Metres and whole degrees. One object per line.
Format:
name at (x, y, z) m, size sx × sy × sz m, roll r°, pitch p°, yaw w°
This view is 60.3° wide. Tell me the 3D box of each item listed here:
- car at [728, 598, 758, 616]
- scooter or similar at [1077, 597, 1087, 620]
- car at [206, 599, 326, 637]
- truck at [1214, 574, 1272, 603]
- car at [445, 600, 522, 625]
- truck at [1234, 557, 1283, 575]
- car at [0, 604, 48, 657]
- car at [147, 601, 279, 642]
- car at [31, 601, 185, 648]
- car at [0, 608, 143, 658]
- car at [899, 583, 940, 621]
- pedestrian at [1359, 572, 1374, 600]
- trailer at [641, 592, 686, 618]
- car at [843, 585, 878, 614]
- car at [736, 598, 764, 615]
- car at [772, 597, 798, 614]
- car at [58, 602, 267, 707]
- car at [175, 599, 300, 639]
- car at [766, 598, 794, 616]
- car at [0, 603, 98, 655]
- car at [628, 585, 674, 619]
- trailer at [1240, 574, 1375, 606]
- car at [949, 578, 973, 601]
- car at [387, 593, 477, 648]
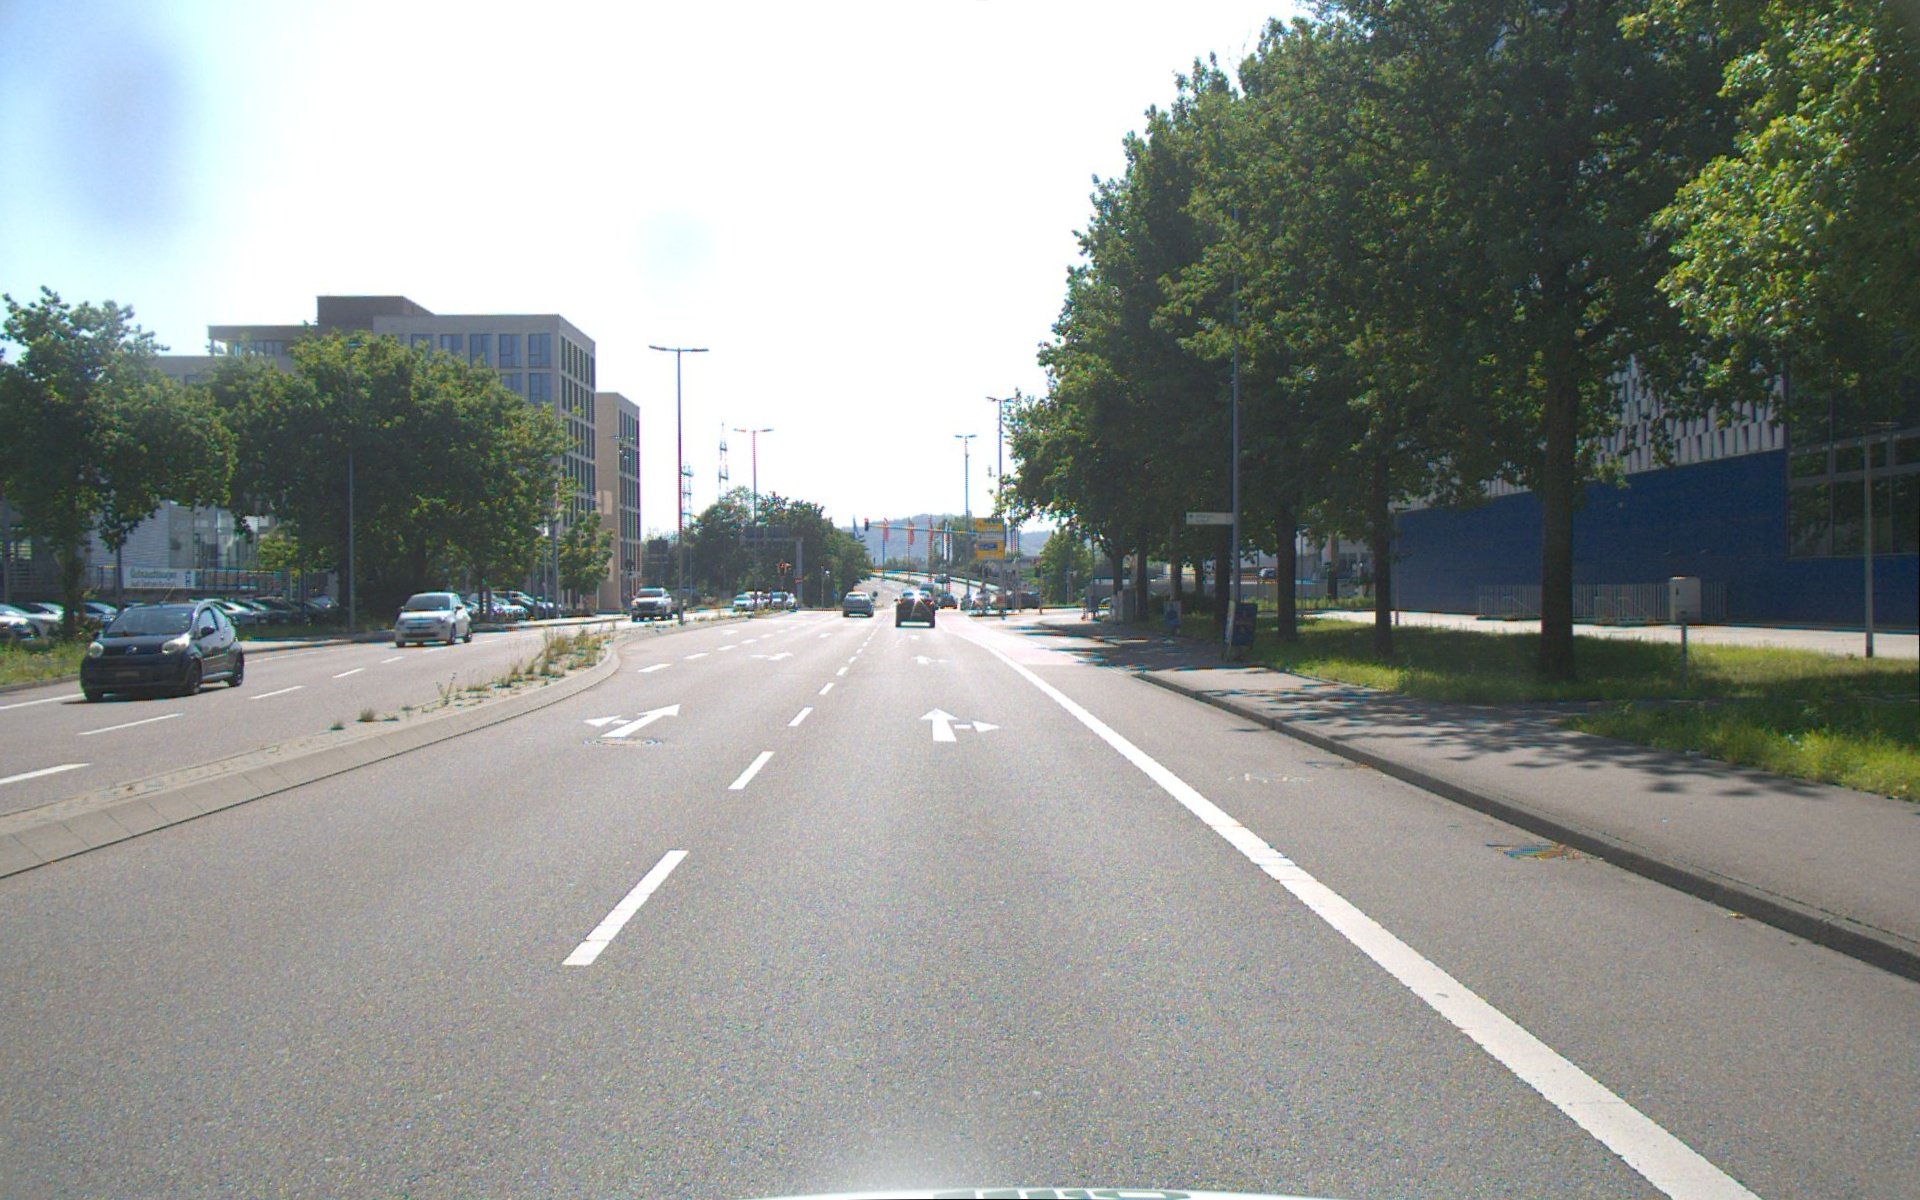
car at (-18.713, 0.577, 142.773) m, size 1.852 × 1.489 × 4.002 m, roll -1°, pitch 0°, yaw 3°
scooter or similar at (6.852, 0.483, 92.755) m, size 0.343 × 1.255 × 1.312 m, roll -1°, pitch 0°, yaw 12°
car at (-27.409, 0.709, 65.423) m, size 3.906 × 1.400 × 1.924 m, roll -1°, pitch 0°, yaw -1°
truck at (25.144, -1.044, 147.111) m, size 4.783 × 2.466 × 1.999 m, roll 1°, pitch 1°, yaw -3°
car at (-27.646, 0.743, 96.072) m, size 3.907 × 1.366 × 1.999 m, roll -1°, pitch 0°, yaw -2°
truck at (37.747, -4.283, 209.005) m, size 5.788 × 2.048 × 2.000 m, roll 2°, pitch 1°, yaw 1°
car at (-27.229, 0.842, 44.884) m, size 3.906 × 1.400 × 1.865 m, roll -1°, pitch 0°, yaw -1°
car at (-27.172, 0.766, 60.284) m, size 3.906 × 1.400 × 1.924 m, roll -1°, pitch 0°, yaw -1°
car at (-27.190, 0.776, 52.886) m, size 3.906 × 1.400 × 1.924 m, roll -1°, pitch 0°, yaw -1°
car at (-27.239, 0.987, 50.173) m, size 3.906 × 1.400 × 1.924 m, roll -1°, pitch 0°, yaw -1°
car at (-1.926, 0.072, 77.353) m, size 1.771 × 1.668 × 4.456 m, roll -1°, pitch 0°, yaw -3°
pedestrian at (26.693, -0.913, 108.563) m, size 0.616 × 1.801 × 0.803 m, roll -1°, pitch 0°, yaw -12°
trailer at (-17.743, 0.300, 99.099) m, size 1.954 × 1.478 × 5.768 m, roll -1°, pitch 0°, yaw -3°
car at (-6.137, -0.024, 102.479) m, size 1.953 × 1.713 × 3.999 m, roll -1°, pitch 0°, yaw -1°
car at (-19.086, 0.552, 150.257) m, size 1.777 × 1.489 × 4.002 m, roll -1°, pitch 0°, yaw 3°
car at (-15.952, 0.461, 150.999) m, size 1.777 × 1.489 × 4.002 m, roll -1°, pitch 0°, yaw 3°
car at (-12.571, 0.805, 26.348) m, size 1.749 × 1.439 × 3.994 m, roll -3°, pitch 0°, yaw -7°
car at (-27.501, 0.716, 63.024) m, size 3.906 × 1.400 × 1.924 m, roll -1°, pitch 0°, yaw -1°
car at (-15.629, 0.624, 144.033) m, size 1.777 × 1.489 × 4.002 m, roll -1°, pitch 0°, yaw 3°
car at (-27.307, 0.837, 47.571) m, size 3.960 × 1.400 × 2.025 m, roll -1°, pitch 0°, yaw -1°
car at (-17.484, 0.105, 93.748) m, size 1.954 × 1.864 × 4.934 m, roll -1°, pitch 0°, yaw -3°
trailer at (30.909, -0.917, 147.338) m, size 11.632 × 2.512 × 2.000 m, roll 2°, pitch 1°, yaw -2°
car at (0.056, -0.871, 137.720) m, size 1.723 × 1.789 × 3.600 m, roll 1°, pitch 1°, yaw -4°
car at (-15.242, 0.560, 47.893) m, size 1.621 × 1.489 × 3.547 m, roll -2°, pitch 0°, yaw -4°
